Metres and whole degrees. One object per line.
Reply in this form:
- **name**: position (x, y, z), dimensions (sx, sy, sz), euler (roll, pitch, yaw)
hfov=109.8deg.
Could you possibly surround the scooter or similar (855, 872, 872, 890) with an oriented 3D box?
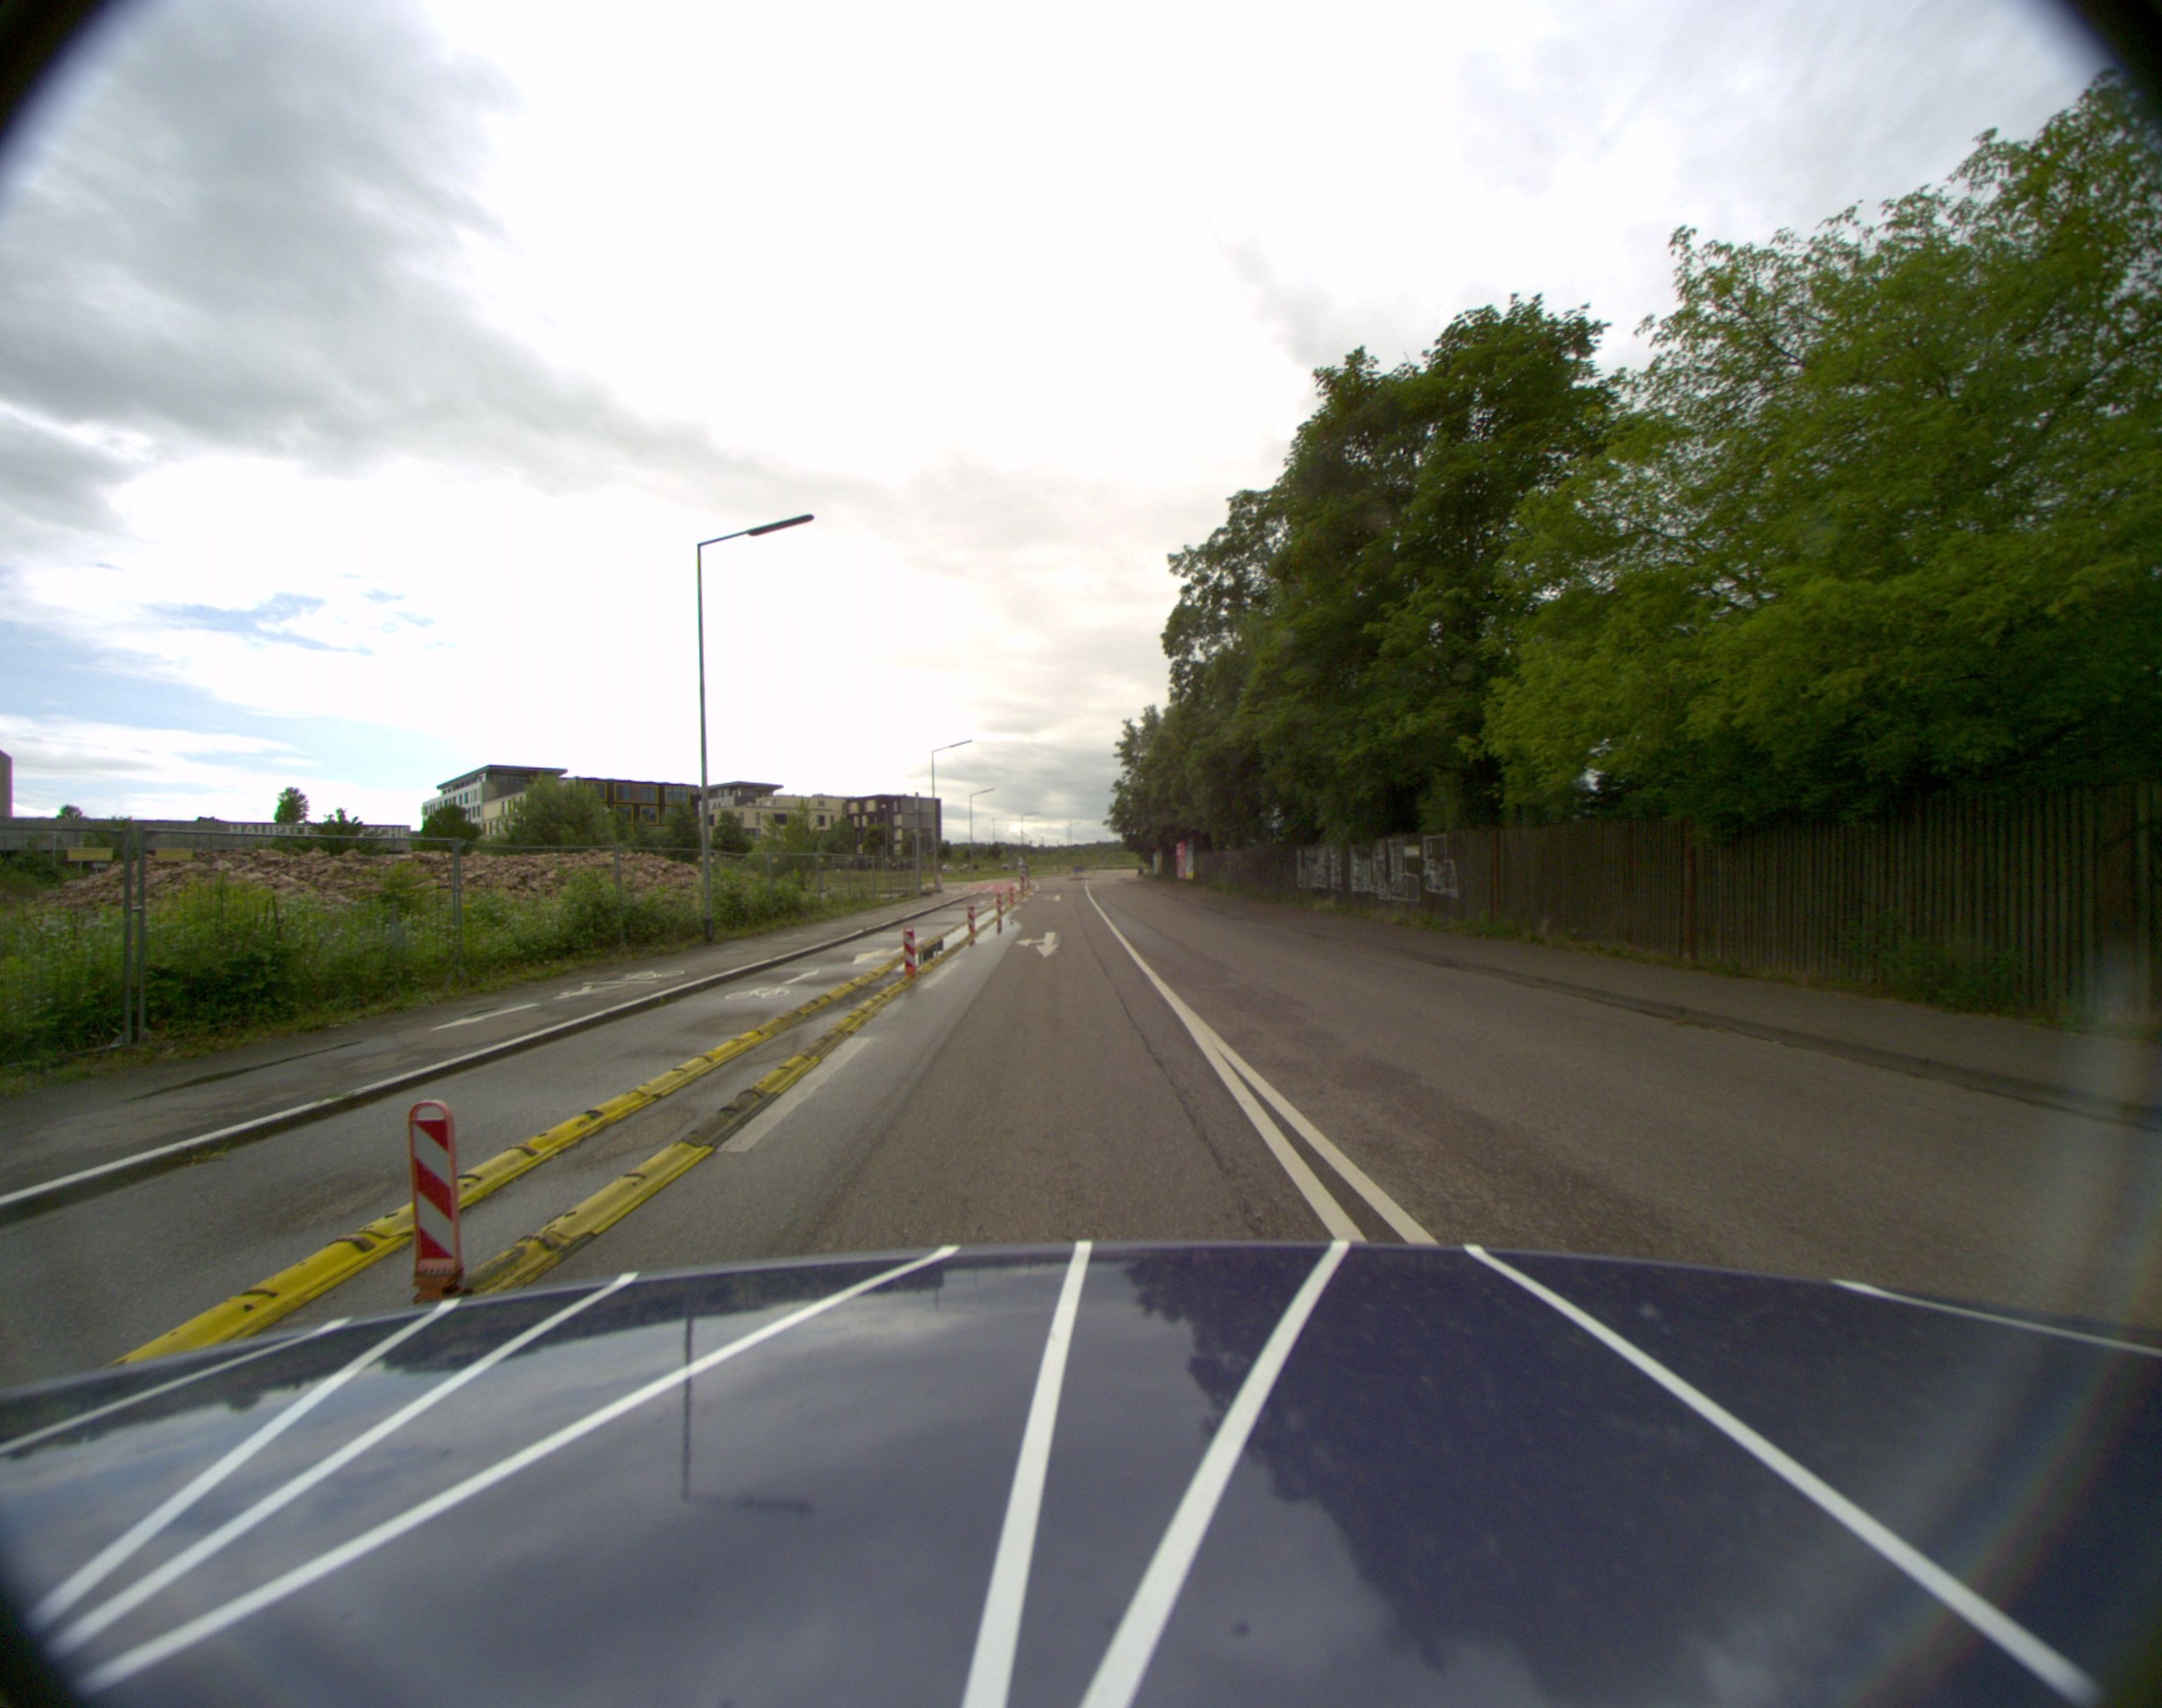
- **scooter or similar**: position (-14.859, 1.839, 51.855), dimensions (1.323, 1.178, 0.447), euler (-1, 0, 40)

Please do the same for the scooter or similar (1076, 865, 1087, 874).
- **scooter or similar**: position (0.088, 1.863, 91.304), dimensions (1.171, 1.178, 0.447), euler (-1, 0, 24)

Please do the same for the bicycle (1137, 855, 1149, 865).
- **bicycle**: position (6.723, 0.648, 82.428), dimensions (0.583, 0.992, 1.773), euler (-4, -1, 26)

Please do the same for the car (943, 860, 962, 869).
- **car**: position (-30.901, 2.481, 182.837), dimensions (1.994, 2.002, 4.009), euler (-1, 0, 40)
